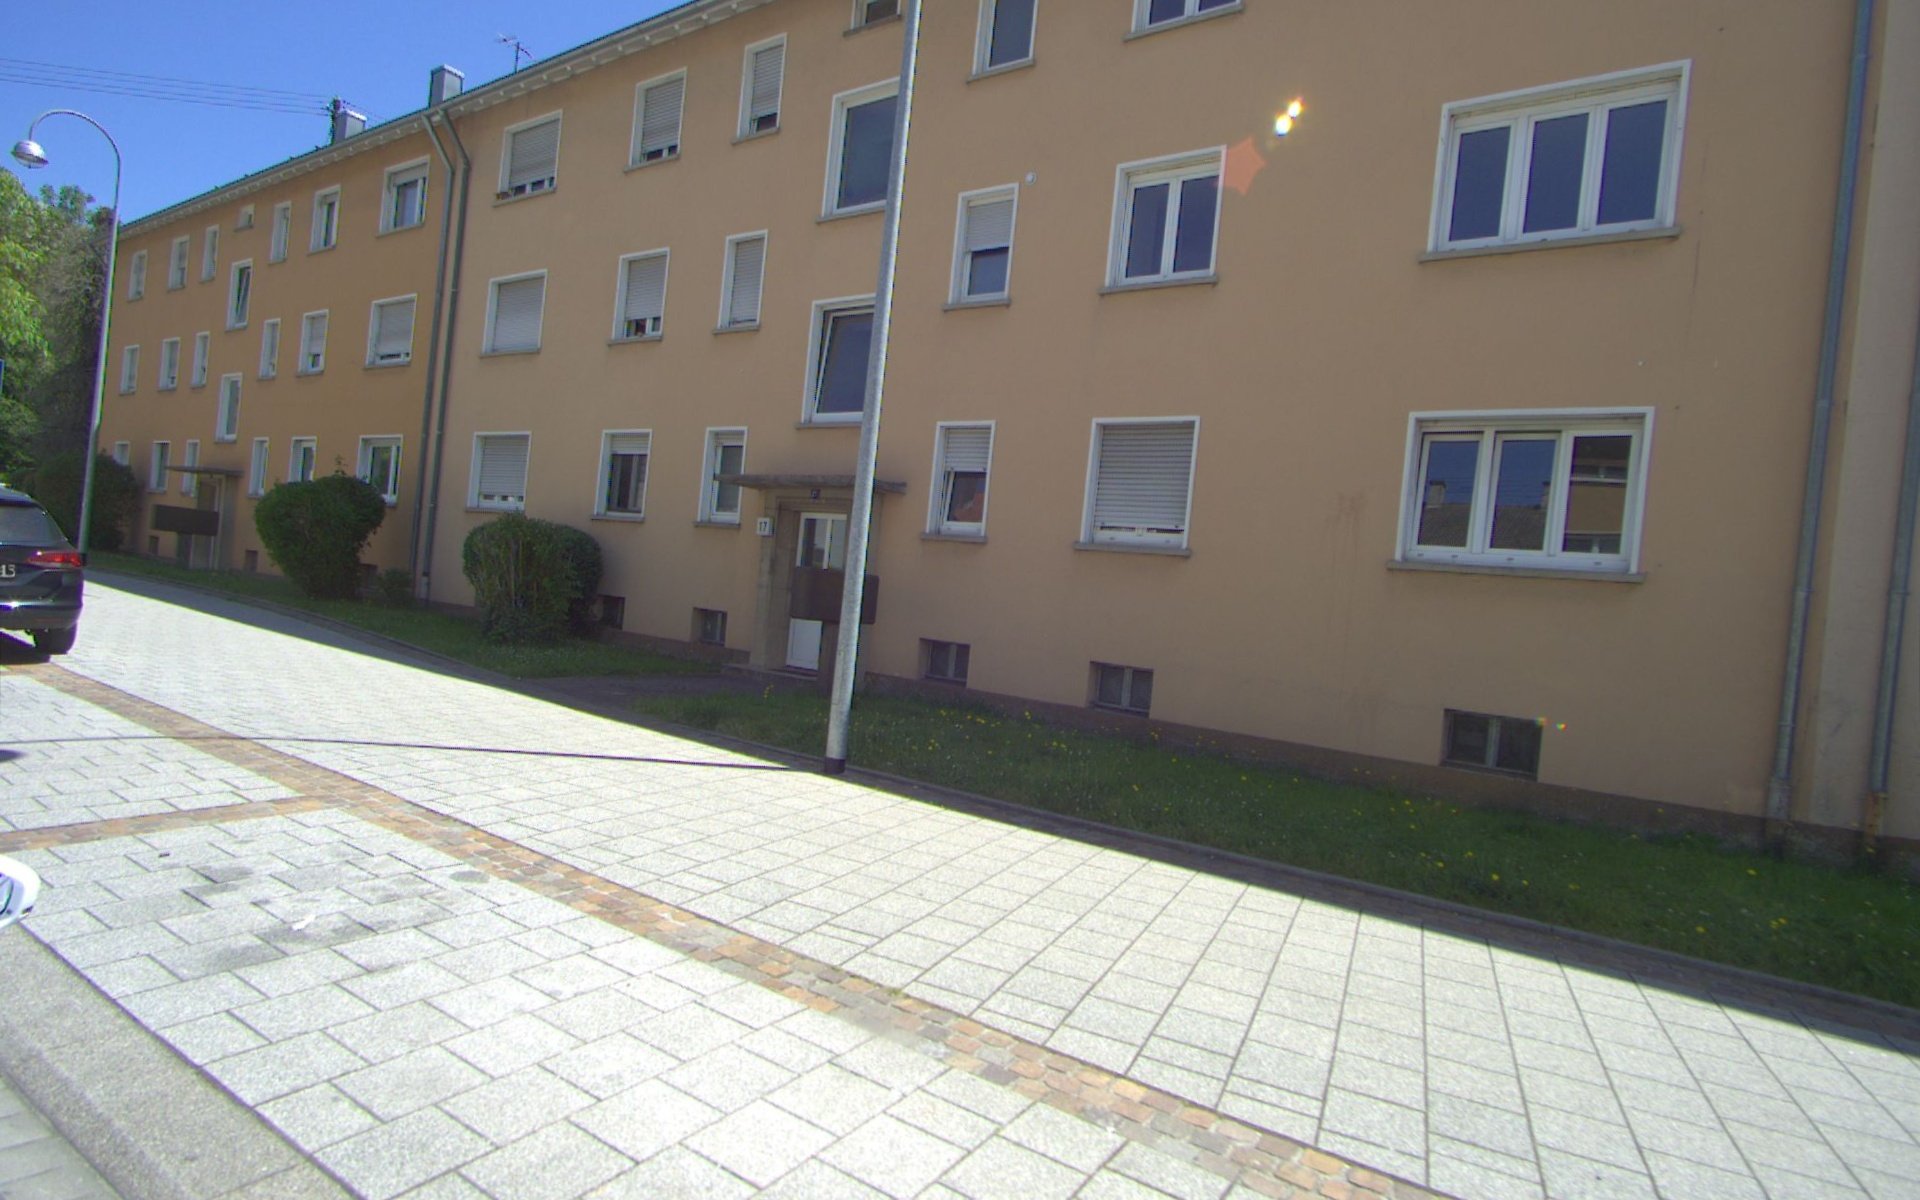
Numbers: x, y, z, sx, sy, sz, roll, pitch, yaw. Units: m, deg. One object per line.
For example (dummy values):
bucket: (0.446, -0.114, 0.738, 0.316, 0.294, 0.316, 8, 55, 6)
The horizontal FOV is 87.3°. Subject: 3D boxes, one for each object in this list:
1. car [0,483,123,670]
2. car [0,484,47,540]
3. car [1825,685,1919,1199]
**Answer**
car: (-9.925, -0.424, 9.455, 4.983, 1.524, 1.833, 6, 2, 34)
car: (-36.285, -3.463, 36.394, 1.719, 1.860, 4.350, 6, -2, 26)
car: (3.536, 1.081, 0.452, 4.431, 1.496, 1.815, 5, 1, 30)
